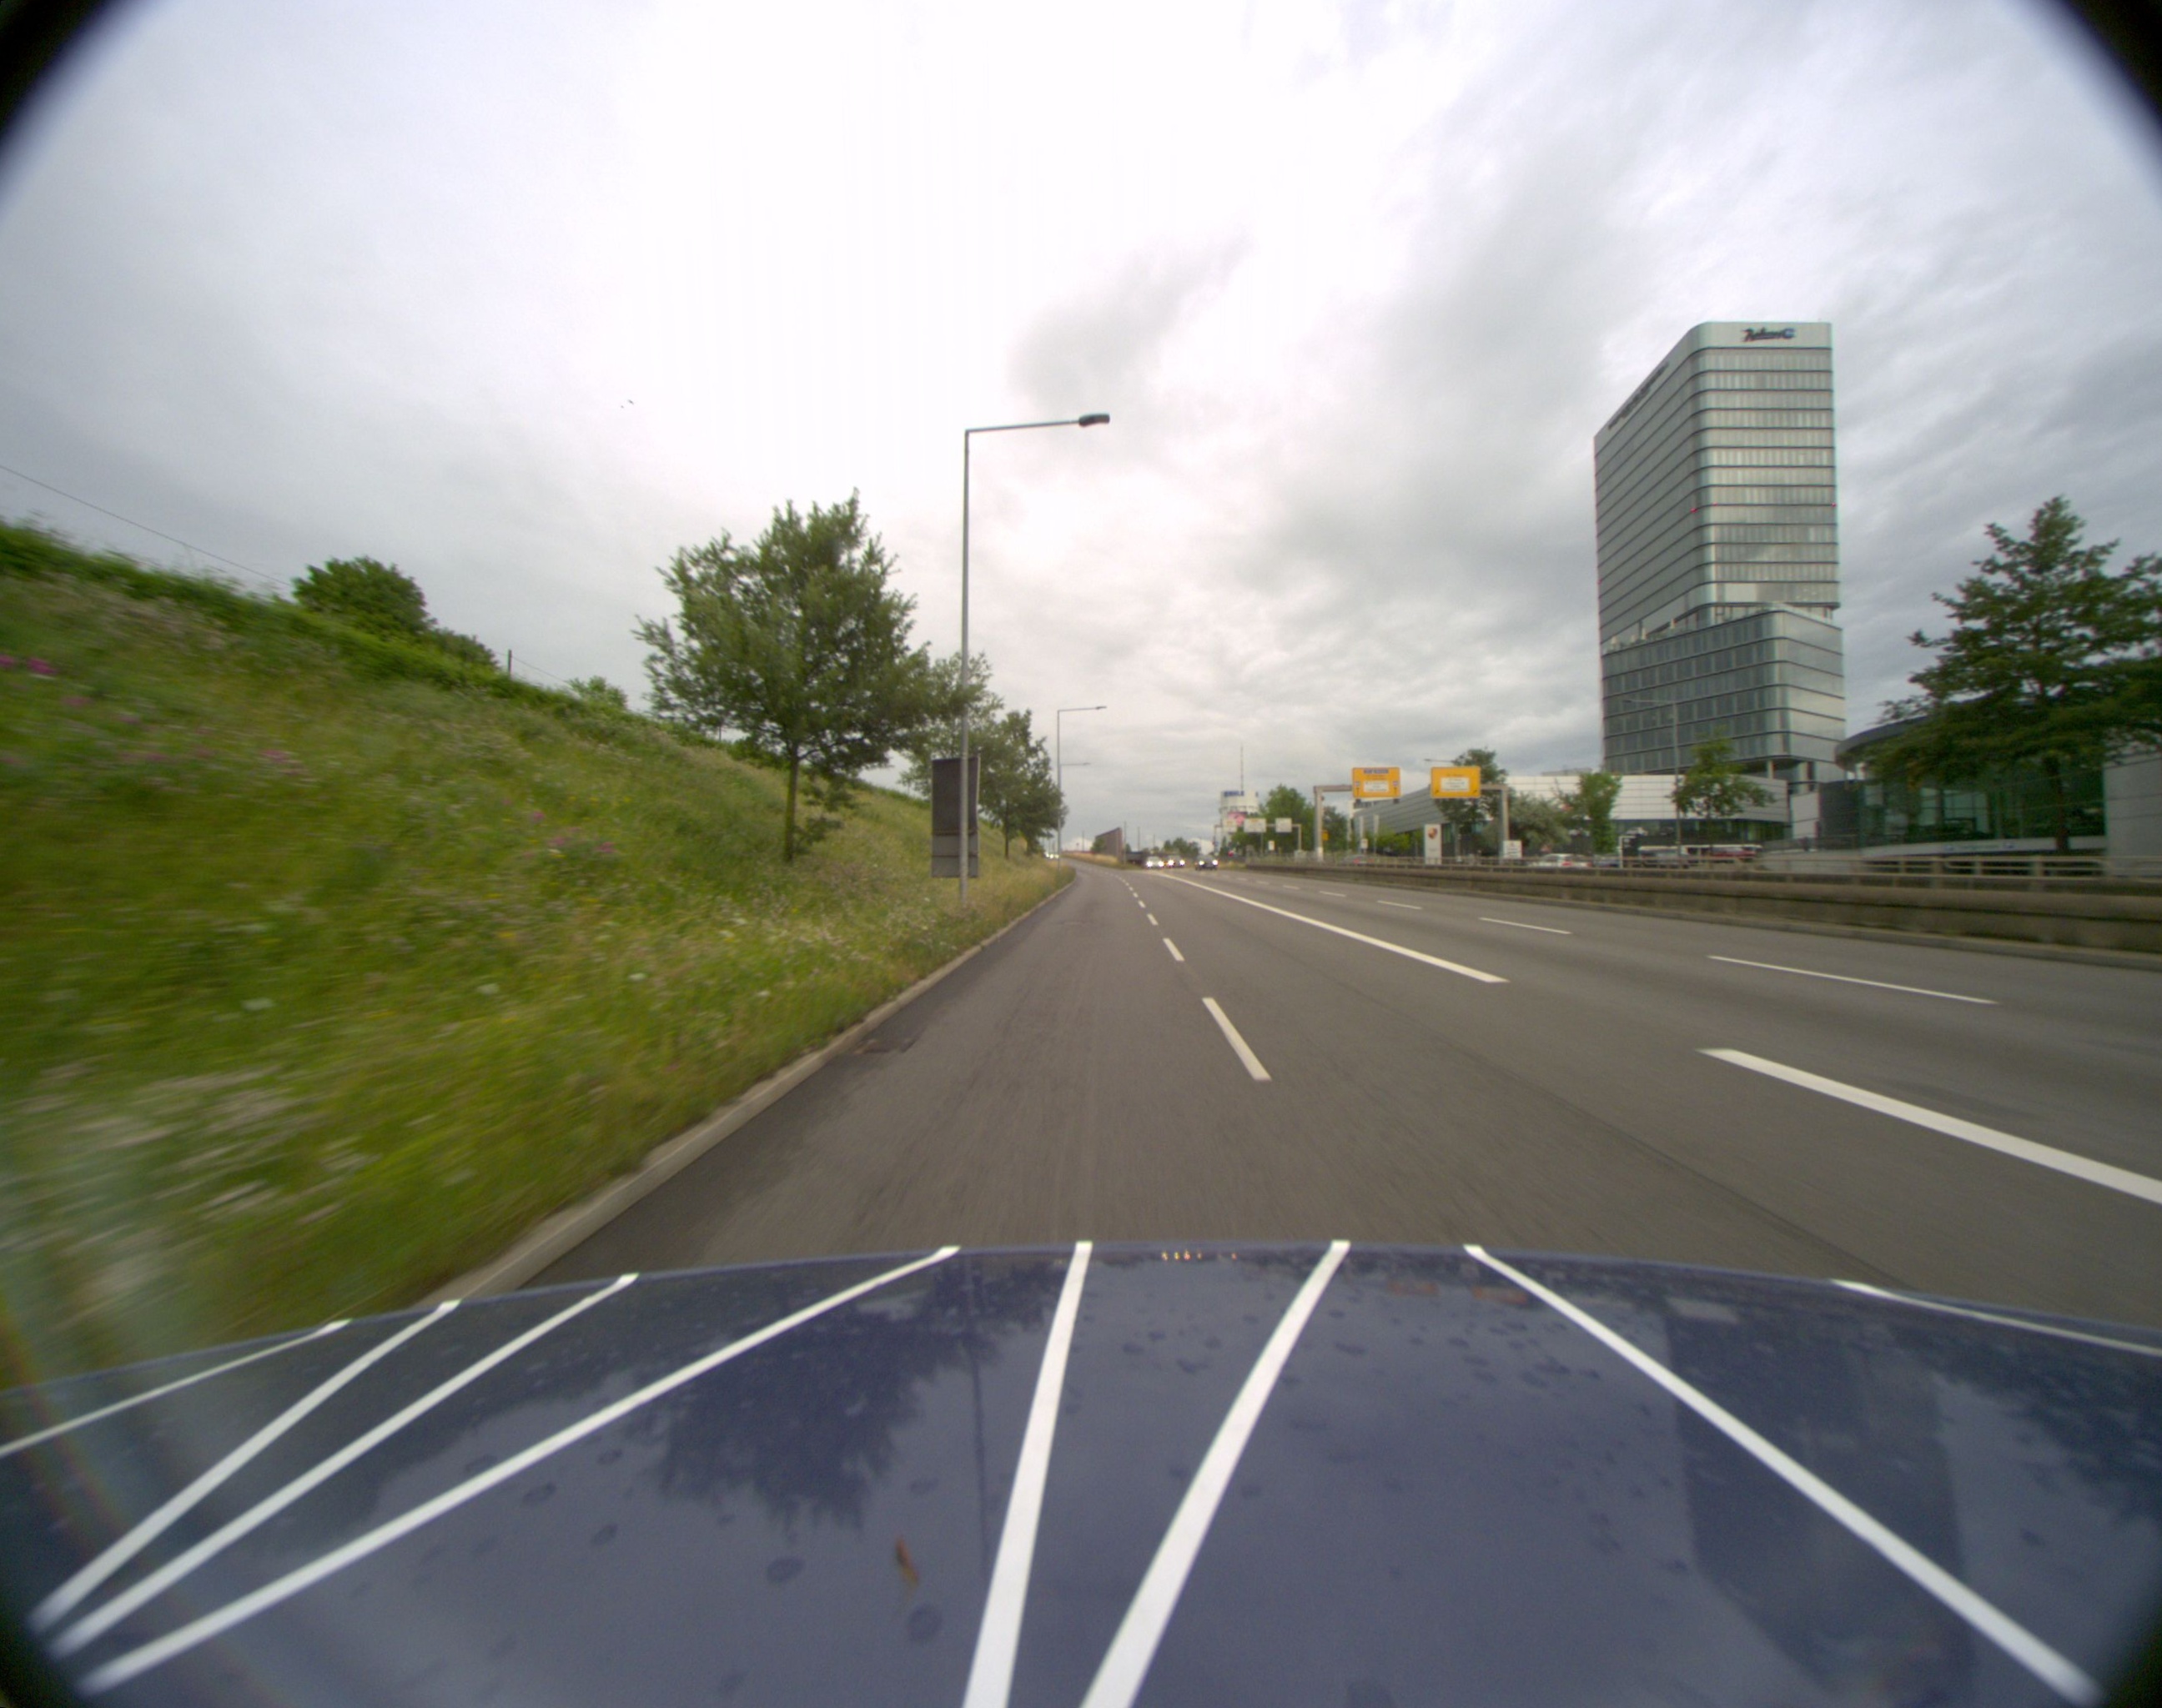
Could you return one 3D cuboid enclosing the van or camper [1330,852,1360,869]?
[{"bbox_3d":[29.705,0.722,85.550,1.869,1.647,3.949,-2,-2,-1],"label":"van or camper"}]

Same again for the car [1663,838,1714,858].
[{"bbox_3d":[57.207,-0.524,71.663,1.921,1.673,4.004,-3,-2,8],"label":"car"}]

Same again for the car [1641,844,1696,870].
[{"bbox_3d":[43.559,0.265,56.434,1.919,1.673,4.510,-3,-3,21],"label":"car"}]

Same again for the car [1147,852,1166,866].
[{"bbox_3d":[8.834,0.592,89.236,1.872,1.622,4.000,-1,0,1],"label":"car"}]

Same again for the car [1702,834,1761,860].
[{"bbox_3d":[55.322,-0.558,64.732,1.905,1.870,4.004,-3,-2,8],"label":"car"}]

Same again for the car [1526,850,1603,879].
[{"bbox_3d":[27.236,0.587,42.974,1.998,1.575,4.002,-1,-1,4],"label":"car"}]

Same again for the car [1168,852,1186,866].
[{"bbox_3d":[11.922,0.572,94.426,1.872,1.622,4.000,-1,0,1],"label":"car"}]

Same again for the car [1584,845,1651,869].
[{"bbox_3d":[43.914,0.253,62.219,3.996,1.673,1.924,-3,-2,3],"label":"car"}]

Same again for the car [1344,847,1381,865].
[{"bbox_3d":[25.501,0.140,69.020,1.998,1.576,4.000,0,1,1],"label":"car"}]

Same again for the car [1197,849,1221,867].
[{"bbox_3d":[12.071,0.356,71.957,1.872,1.622,4.001,-1,0,4],"label":"car"}]

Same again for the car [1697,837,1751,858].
[{"bbox_3d":[60.035,-0.551,71.058,1.921,1.673,4.004,-3,-2,8],"label":"car"}]

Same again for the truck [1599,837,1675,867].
[{"bbox_3d":[54.185,-0.100,74.274,2.371,2.512,7.417,-3,-2,4],"label":"truck"}]

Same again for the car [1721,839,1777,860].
[{"bbox_3d":[62.204,-0.372,70.830,1.921,1.673,4.004,-3,-2,8],"label":"car"}]

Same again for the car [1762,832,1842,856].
[{"bbox_3d":[60.881,-0.794,64.335,1.997,1.870,5.540,-3,-1,8],"label":"car"}]

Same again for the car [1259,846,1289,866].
[{"bbox_3d":[16.984,0.173,67.136,1.692,1.580,3.550,-2,-2,0],"label":"car"}]

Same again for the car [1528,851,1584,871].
[{"bbox_3d":[44.793,0.676,71.712,3.996,1.673,1.924,-3,-2,3],"label":"car"}]
